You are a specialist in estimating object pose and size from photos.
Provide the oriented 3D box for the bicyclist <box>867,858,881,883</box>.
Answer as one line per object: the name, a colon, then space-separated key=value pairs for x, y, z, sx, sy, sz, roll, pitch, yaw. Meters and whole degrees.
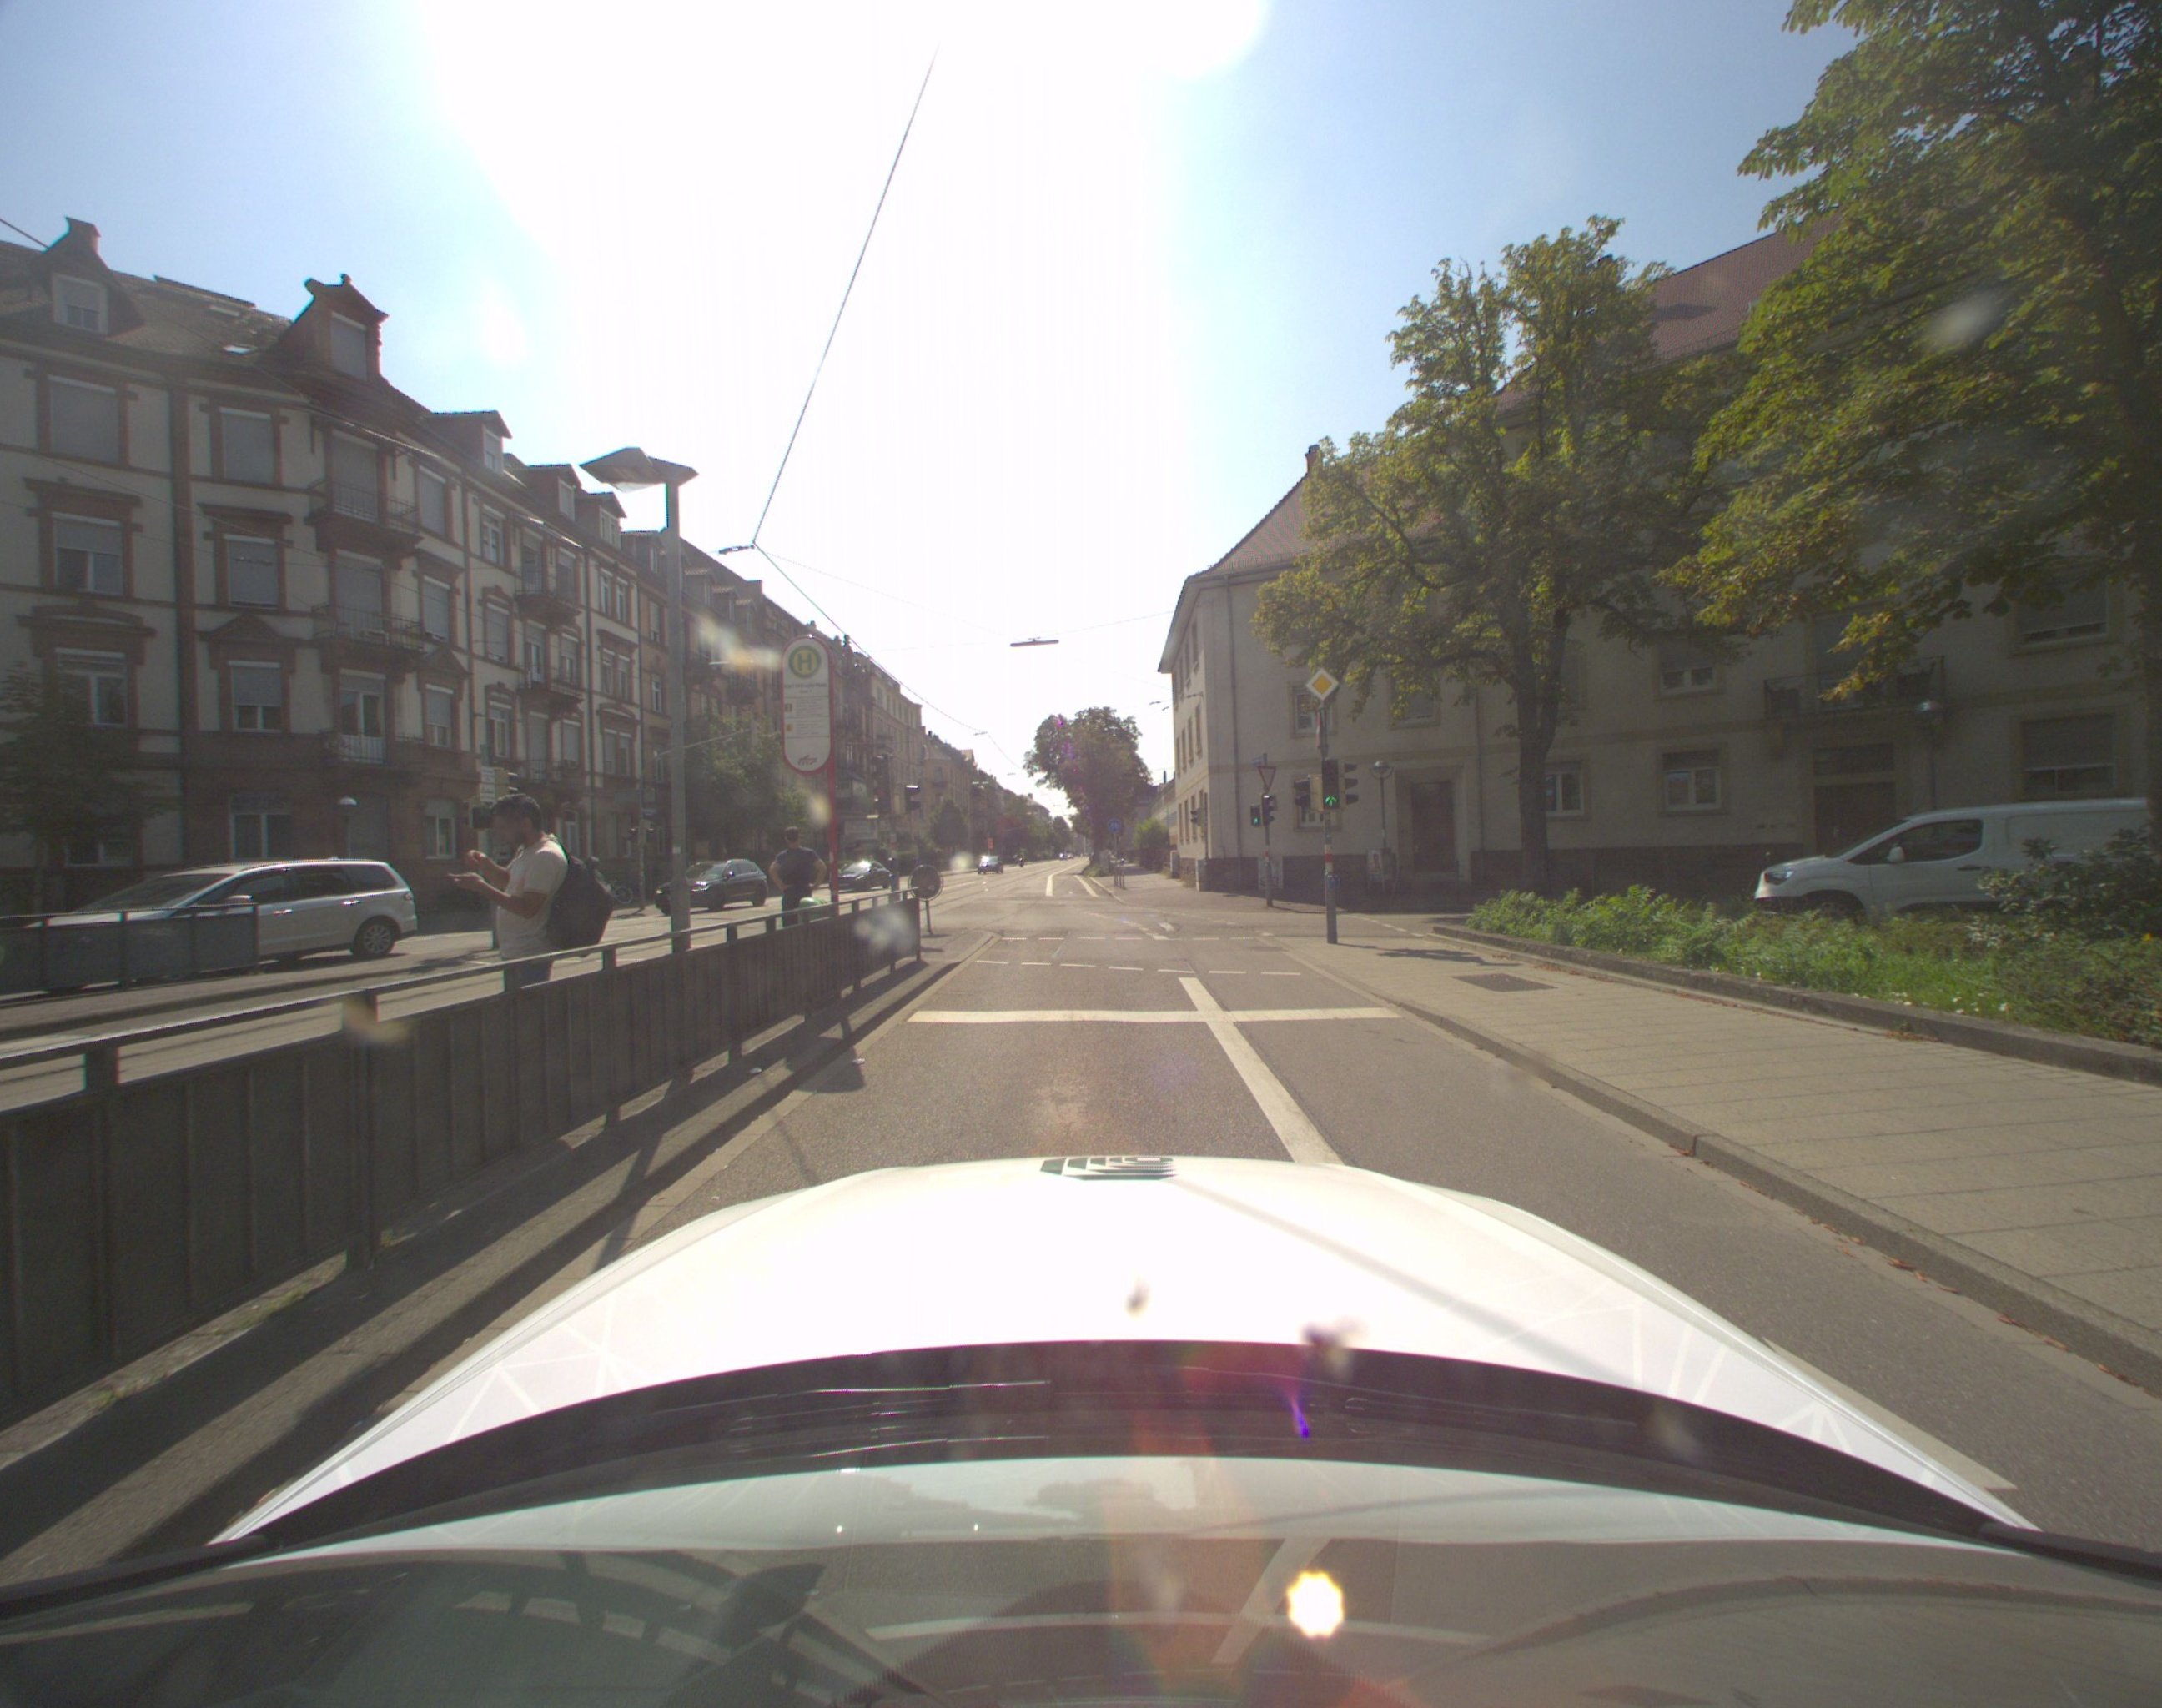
bicyclist: x=-12.225 y=0.960 z=48.172 sx=0.578 sy=1.470 sz=0.776 roll=-2 pitch=0 yaw=1

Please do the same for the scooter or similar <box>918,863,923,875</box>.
scooter or similar: x=-13.079 y=1.205 z=66.428 sx=0.399 sy=0.982 sz=0.583 roll=0 pitch=-1 yaw=-6

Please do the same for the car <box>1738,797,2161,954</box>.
car: x=11.970 y=0.256 z=11.163 sx=1.814 sy=1.812 sz=4.362 roll=-2 pitch=0 yaw=-43

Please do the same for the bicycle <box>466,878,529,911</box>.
bicycle: x=-19.835 y=1.363 z=27.714 sx=0.389 sy=0.997 sz=1.690 roll=-2 pitch=0 yaw=39

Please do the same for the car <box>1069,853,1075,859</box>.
car: x=-2.561 y=0.573 z=236.449 sx=1.726 sy=1.490 sz=4.001 roll=-2 pitch=0 yaw=1

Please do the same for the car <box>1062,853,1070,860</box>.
car: x=-3.799 y=0.631 z=204.474 sx=1.820 sy=1.540 sz=4.001 roll=-2 pitch=0 yaw=1

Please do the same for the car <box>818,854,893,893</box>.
car: x=-10.699 y=0.865 z=39.073 sx=1.985 sy=1.648 sz=4.635 roll=-3 pitch=0 yaw=3

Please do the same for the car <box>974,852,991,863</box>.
car: x=-14.449 y=0.516 z=119.381 sx=1.988 sy=1.594 sz=4.356 roll=-2 pitch=0 yaw=-2

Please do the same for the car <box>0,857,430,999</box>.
car: x=-13.267 y=0.978 z=12.775 sx=1.983 sy=1.726 sz=4.639 roll=-3 pitch=0 yaw=6

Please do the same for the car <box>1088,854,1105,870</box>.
car: x=1.577 y=0.803 z=83.563 sx=1.611 sy=1.477 sz=4.040 roll=-3 pitch=0 yaw=2

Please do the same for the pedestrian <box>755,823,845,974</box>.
pedestrian: x=-3.719 y=0.553 z=10.774 sx=0.927 sy=1.885 sz=0.668 roll=-2 pitch=0 yaw=-35

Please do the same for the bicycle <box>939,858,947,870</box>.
bicycle: x=-13.664 y=1.026 z=80.728 sx=0.388 sy=1.147 sz=1.583 roll=-2 pitch=0 yaw=2

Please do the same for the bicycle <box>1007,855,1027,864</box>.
bicycle: x=-9.147 y=0.780 z=116.214 sx=2.703 sy=1.269 sz=1.147 roll=-2 pitch=0 yaw=-10

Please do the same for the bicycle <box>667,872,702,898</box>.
bicycle: x=-16.708 y=1.305 z=34.359 sx=0.485 sy=1.021 sz=1.780 roll=-2 pitch=0 yaw=5

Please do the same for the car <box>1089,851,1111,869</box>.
car: x=1.784 y=0.547 z=75.381 sx=1.608 sy=1.530 sz=3.507 roll=-3 pitch=0 yaw=8

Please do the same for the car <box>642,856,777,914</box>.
car: x=-12.180 y=0.954 z=27.103 sx=1.984 sy=1.648 sz=4.637 roll=-3 pitch=0 yaw=5

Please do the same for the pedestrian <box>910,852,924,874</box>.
pedestrian: x=-13.498 y=0.711 z=67.105 sx=0.880 sy=1.756 sz=0.870 roll=-2 pitch=0 yaw=1

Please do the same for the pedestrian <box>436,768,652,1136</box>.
pedestrian: x=-3.030 y=0.497 z=4.701 sx=0.673 sy=1.885 sz=0.920 roll=-2 pitch=0 yaw=-10

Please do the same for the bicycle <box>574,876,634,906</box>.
bicycle: x=-17.719 y=1.360 z=30.302 sx=0.482 sy=0.997 sz=1.841 roll=-2 pitch=0 yaw=39

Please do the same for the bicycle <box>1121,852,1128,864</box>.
bicycle: x=3.898 y=0.322 z=73.483 sx=0.439 sy=1.047 sz=1.828 roll=-2 pitch=0 yaw=-2

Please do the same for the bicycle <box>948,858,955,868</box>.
bicycle: x=-13.706 y=0.915 z=86.211 sx=0.388 sy=1.038 sz=1.834 roll=-2 pitch=0 yaw=3

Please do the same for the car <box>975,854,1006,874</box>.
car: x=-7.715 y=0.849 z=69.689 sx=1.719 sy=1.433 sz=4.183 roll=4 pitch=2 yaw=5

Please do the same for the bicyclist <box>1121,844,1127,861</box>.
bicyclist: x=3.879 y=-0.142 z=73.680 sx=0.436 sy=1.512 sz=0.471 roll=-2 pitch=0 yaw=-2

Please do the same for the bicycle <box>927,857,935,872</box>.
bicycle: x=-14.051 y=1.004 z=76.275 sx=0.388 sy=1.406 sz=1.583 roll=-2 pitch=0 yaw=2

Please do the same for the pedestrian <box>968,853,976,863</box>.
pedestrian: x=-16.859 y=0.598 z=126.035 sx=0.889 sy=1.511 sz=0.862 roll=-2 pitch=0 yaw=-30

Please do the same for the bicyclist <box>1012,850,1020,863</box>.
bicyclist: x=-9.272 y=0.335 z=116.192 sx=0.952 sy=1.837 sz=1.125 roll=-2 pitch=-1 yaw=-10
